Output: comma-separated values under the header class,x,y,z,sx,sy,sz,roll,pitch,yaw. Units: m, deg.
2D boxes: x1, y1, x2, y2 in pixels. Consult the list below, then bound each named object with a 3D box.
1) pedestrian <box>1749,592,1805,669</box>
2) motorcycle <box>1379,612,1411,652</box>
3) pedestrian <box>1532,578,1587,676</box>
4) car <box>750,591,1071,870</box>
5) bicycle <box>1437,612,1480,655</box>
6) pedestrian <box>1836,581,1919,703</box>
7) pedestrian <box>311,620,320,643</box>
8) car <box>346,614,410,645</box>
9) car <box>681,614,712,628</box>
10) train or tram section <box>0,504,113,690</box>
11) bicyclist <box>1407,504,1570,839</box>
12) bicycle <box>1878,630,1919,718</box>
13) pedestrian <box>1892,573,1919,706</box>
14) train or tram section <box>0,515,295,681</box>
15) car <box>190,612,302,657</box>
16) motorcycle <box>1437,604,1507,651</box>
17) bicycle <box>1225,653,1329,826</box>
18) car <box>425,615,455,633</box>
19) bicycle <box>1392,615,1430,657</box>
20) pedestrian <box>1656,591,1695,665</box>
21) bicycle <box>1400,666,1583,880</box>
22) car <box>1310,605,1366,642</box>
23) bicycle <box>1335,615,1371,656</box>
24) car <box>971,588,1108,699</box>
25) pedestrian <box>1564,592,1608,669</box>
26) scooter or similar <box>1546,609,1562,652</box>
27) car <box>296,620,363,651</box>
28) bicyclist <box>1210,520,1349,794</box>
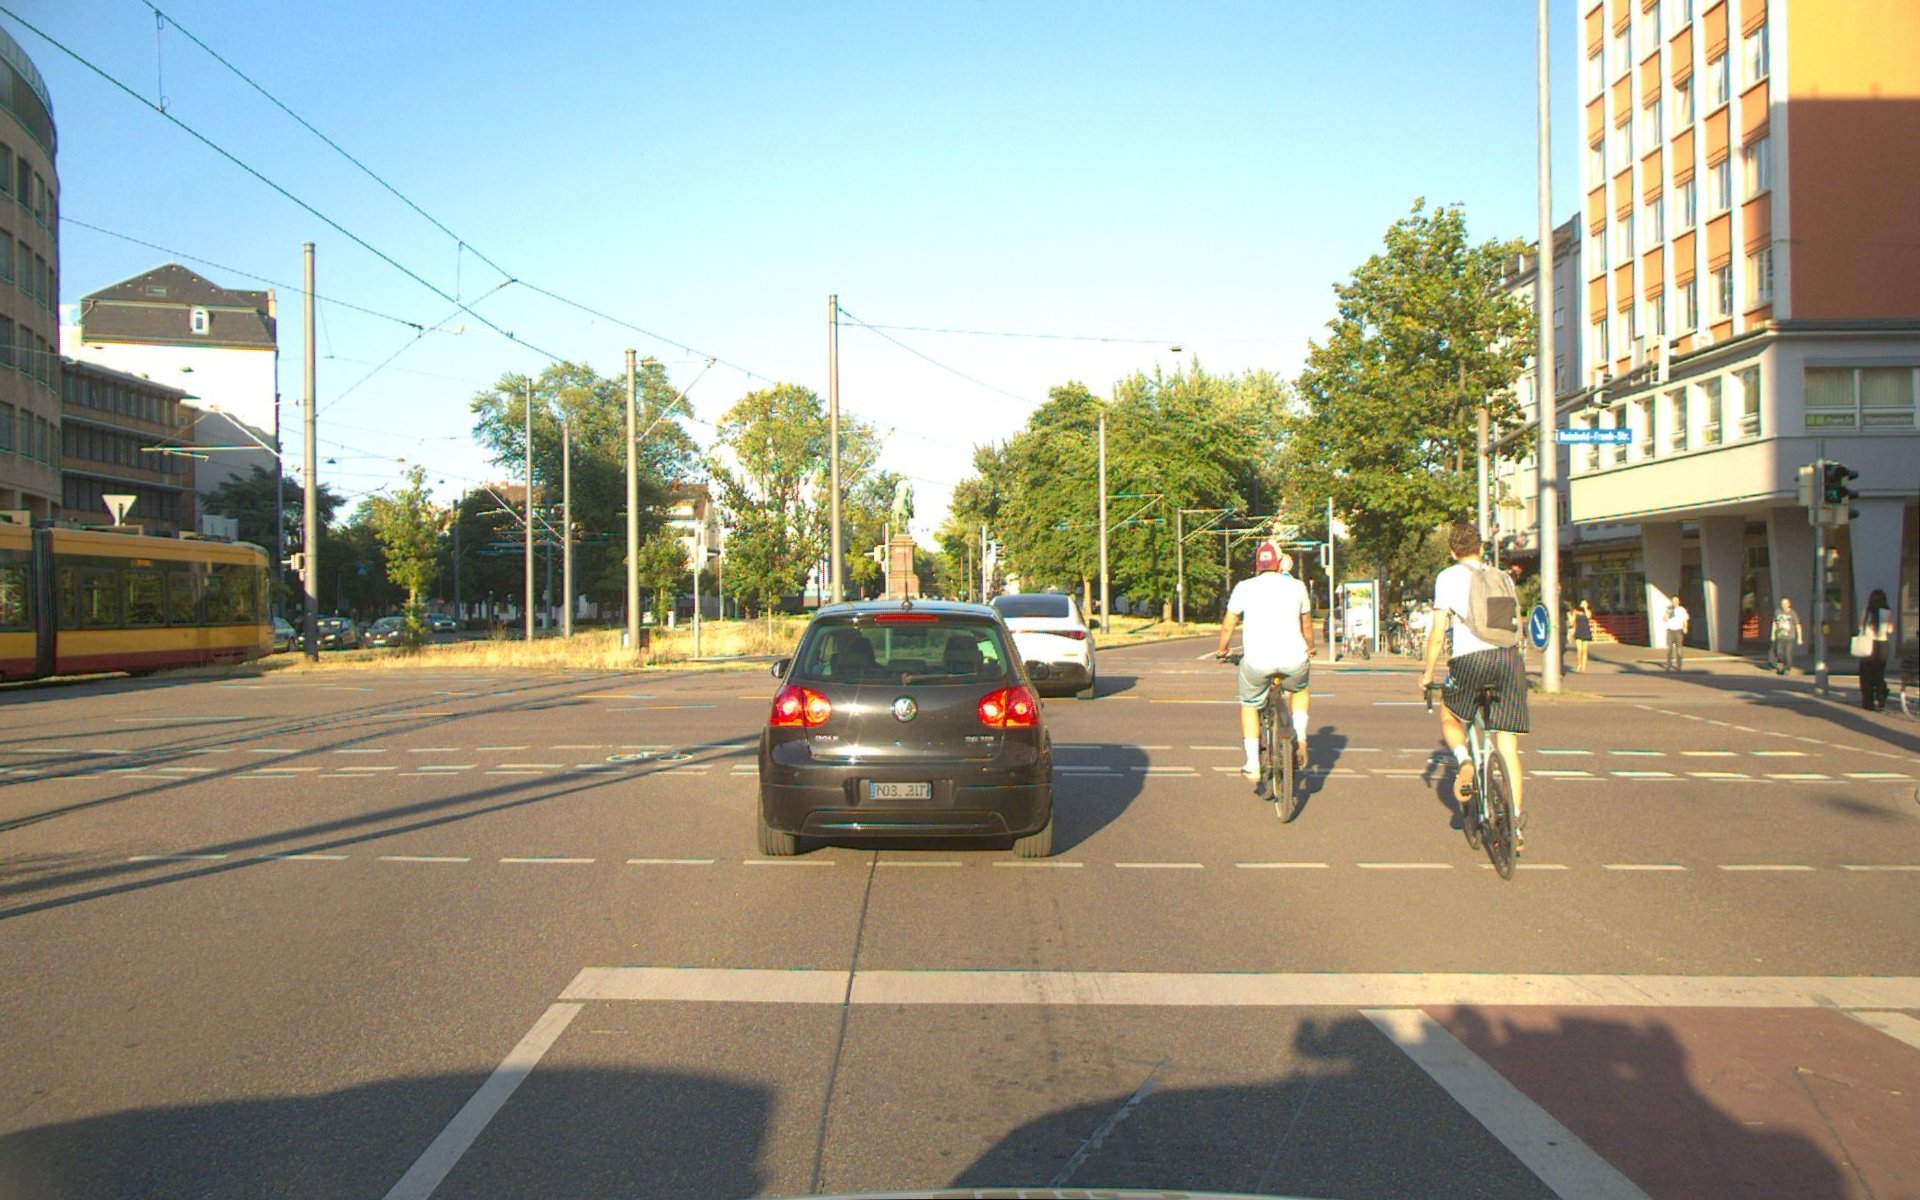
class,x,y,z,sx,sy,sz,roll,pitch,yaw
pedestrian,18.760,0.685,38.001,0.767,1.731,1.027,-1,0,1
motorcycle,14.079,1.030,53.590,0.652,1.264,2.202,0,0,6
pedestrian,10.823,0.476,29.874,0.648,1.734,1.072,-1,0,4
car,-0.277,0.699,10.888,1.712,1.486,4.102,0,0,0
bicycle,14.582,0.958,48.419,0.631,1.178,2.124,-1,1,1
pedestrian,11.699,0.528,21.088,0.667,1.526,0.746,-1,0,1
pedestrian,-42.550,2.083,109.133,0.405,1.455,0.485,-1,0,-1
car,-26.381,1.316,75.049,1.612,1.304,3.739,-1,0,0
car,-29.027,2.316,182.411,3.272,1.534,1.657,-1,0,-4
train or tram section,-19.793,-0.058,29.609,2.717,3.598,13.248,0,0,-1
bicyclist,3.046,0.395,9.609,0.660,1.839,0.994,0,0,3
bicycle,11.417,0.854,18.758,0.513,0.998,1.837,-1,0,-23
pedestrian,12.485,0.497,21.187,0.667,1.691,0.746,-1,0,1
train or tram section,-20.044,-0.029,41.424,2.717,3.598,10.568,0,0,-1
car,-25.766,1.232,59.889,1.849,1.506,4.783,-1,0,2
motorcycle,16.003,0.863,51.738,2.000,1.431,0.761,0,0,7
bicycle,2.198,0.929,11.632,0.468,1.046,1.982,-1,0,4
car,-43.945,2.018,139.698,1.749,1.508,4.271,-1,0,-27
bicycle,13.214,1.046,48.538,0.631,1.146,1.874,-1,1,1
pedestrian,16.958,0.657,39.209,0.557,1.731,0.812,-1,0,1
bicycle,3.024,0.942,9.571,0.563,1.046,1.857,0,0,4
car,16.533,1.013,72.213,1.693,1.498,3.898,-3,-1,22
bicycle,11.491,1.026,48.418,0.631,1.146,1.874,-1,1,1
car,1.163,0.576,24.371,1.826,1.466,4.198,-1,0,2
pedestrian,13.349,0.651,35.292,0.667,1.617,0.747,-1,0,4
scooter or similar,18.015,0.919,50.152,0.406,1.276,1.183,0,0,19
car,-25.947,1.433,68.137,1.489,1.174,3.597,0,0,-2
bicyclist,2.227,0.387,11.638,0.809,1.839,1.058,0,0,3
